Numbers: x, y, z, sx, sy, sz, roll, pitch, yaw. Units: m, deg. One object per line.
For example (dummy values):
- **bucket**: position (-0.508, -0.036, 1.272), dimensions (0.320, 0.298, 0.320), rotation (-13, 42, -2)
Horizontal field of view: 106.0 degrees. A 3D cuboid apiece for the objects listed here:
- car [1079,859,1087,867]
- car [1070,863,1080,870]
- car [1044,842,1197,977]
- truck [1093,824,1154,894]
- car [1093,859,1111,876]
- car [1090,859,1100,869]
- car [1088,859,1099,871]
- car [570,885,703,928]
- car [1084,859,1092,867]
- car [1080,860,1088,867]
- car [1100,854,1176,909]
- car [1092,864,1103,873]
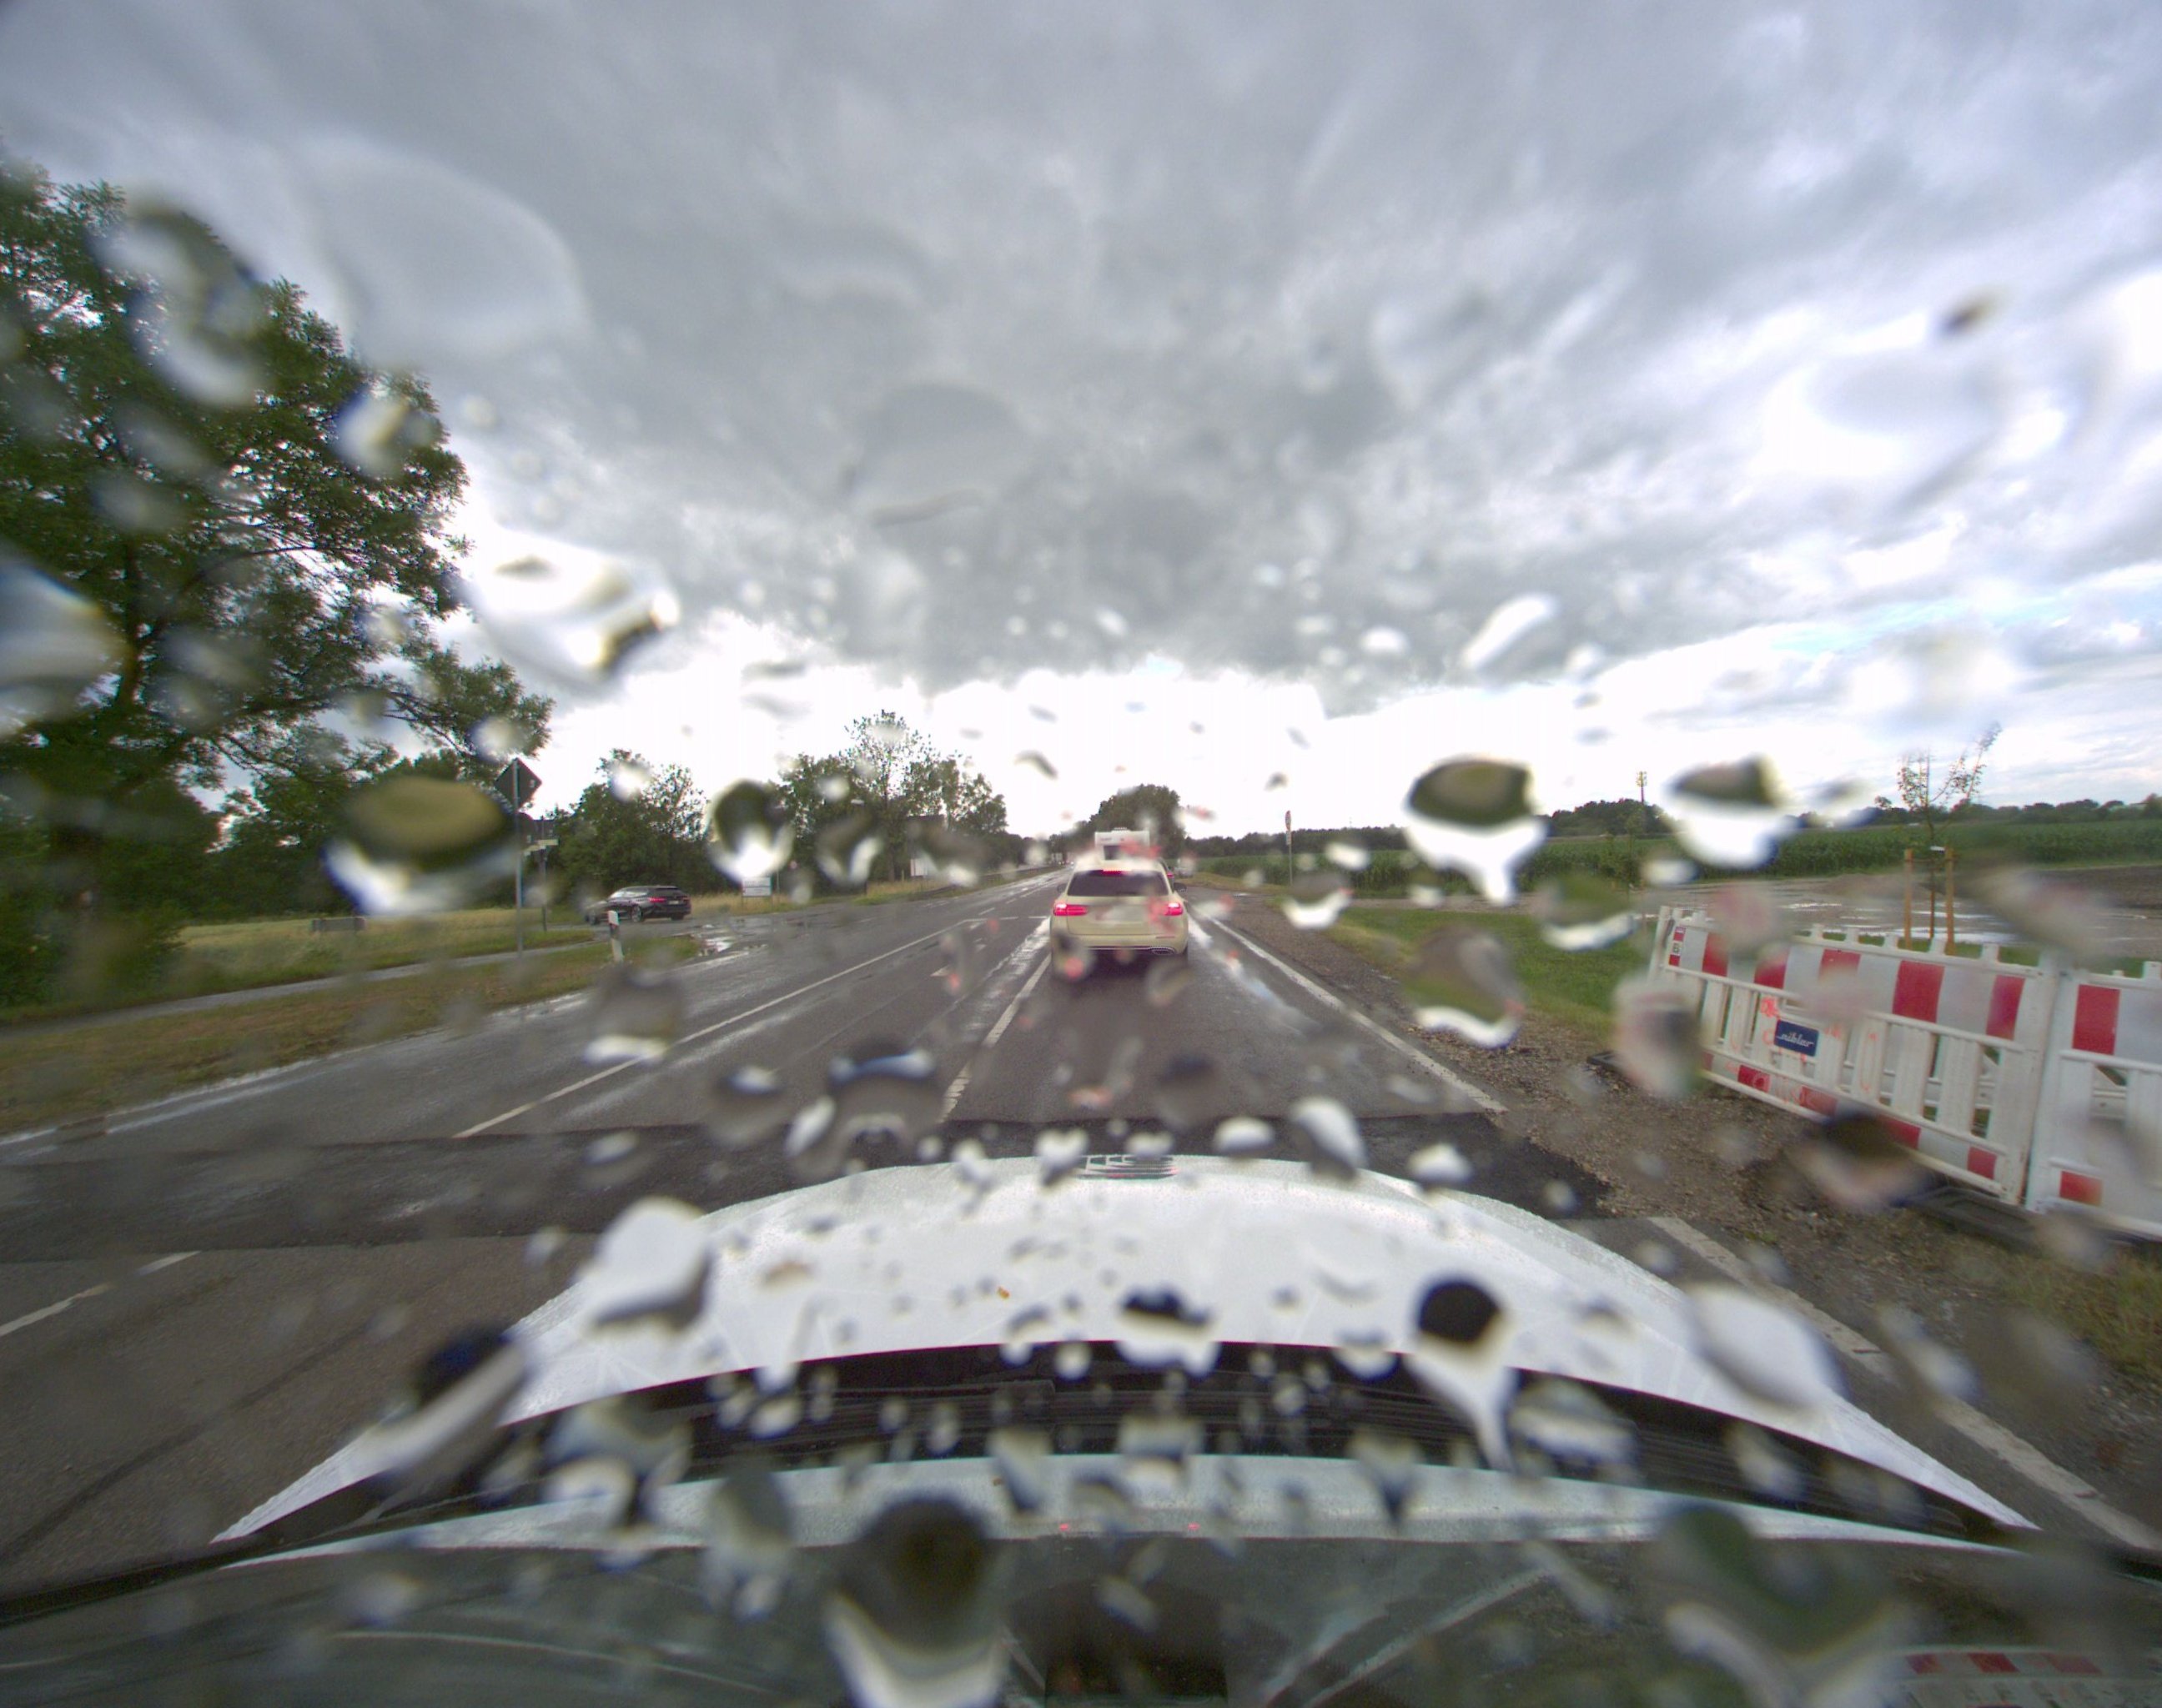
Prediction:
- **car**: position (0.553, 2.419, 213.669), dimensions (1.890, 1.895, 3.841), rotation (-2, -1, -1)
- **car**: position (-1.282, 2.779, 177.357), dimensions (1.821, 1.574, 4.002), rotation (0, -1, 2)
- **car**: position (0.545, 0.688, 11.940), dimensions (1.836, 1.618, 4.001), rotation (-1, -1, 2)
- **truck**: position (1.859, 0.217, 36.806), dimensions (2.354, 2.729, 7.317), rotation (-2, 0, 2)
- **car**: position (2.325, 1.480, 90.287), dimensions (1.908, 1.841, 3.796), rotation (-2, 0, 1)
- **car**: position (2.647, 1.831, 152.487), dimensions (1.872, 1.761, 3.835), rotation (-2, 0, 2)
- **car**: position (2.062, 1.815, 135.219), dimensions (1.784, 1.777, 3.722), rotation (-2, -1, 2)
- **car**: position (-17.965, 2.116, 32.925), dimensions (4.576, 1.547, 2.322), rotation (-3, -2, 23)
- **car**: position (1.739, 2.144, 189.717), dimensions (1.733, 1.860, 3.786), rotation (-2, 0, 2)
- **car**: position (0.791, 2.313, 203.877), dimensions (1.744, 1.662, 3.670), rotation (-2, 0, -2)
- **car**: position (1.560, 0.746, 23.452), dimensions (1.986, 1.462, 4.001), rotation (0, -1, 2)
- **car**: position (3.255, 2.907, 163.642), dimensions (1.987, 1.772, 3.999), rotation (-2, 0, -1)
